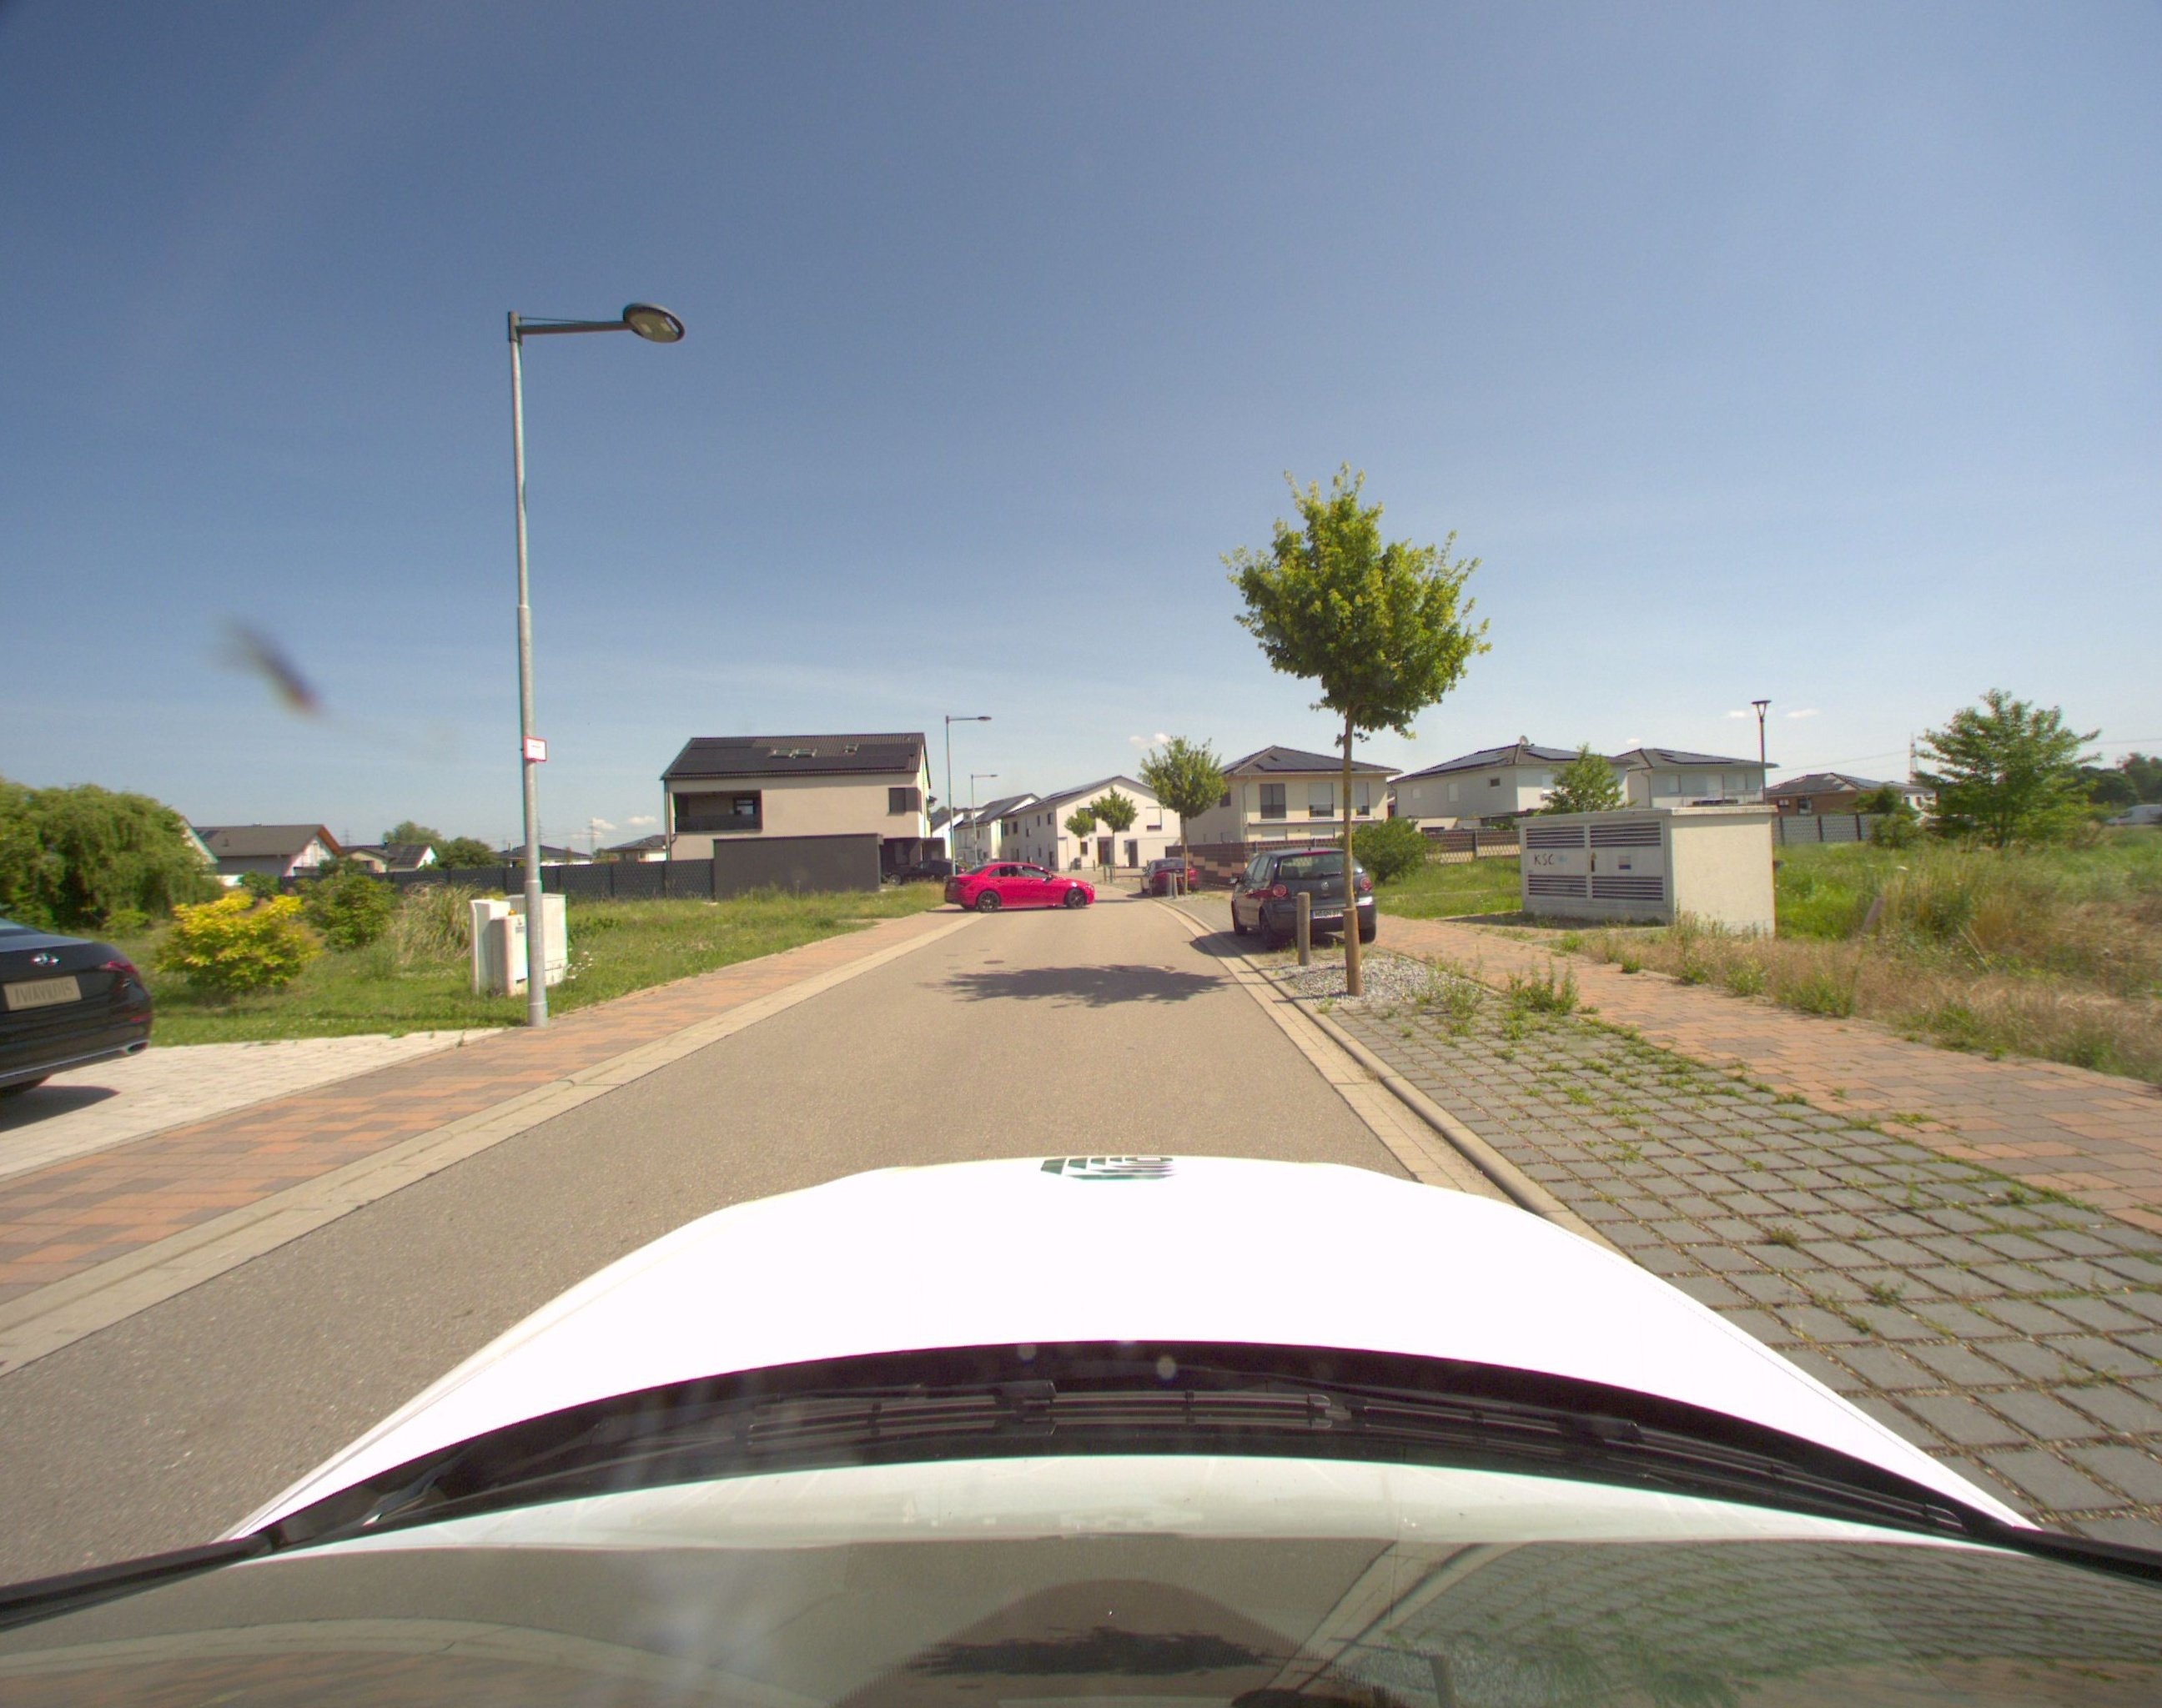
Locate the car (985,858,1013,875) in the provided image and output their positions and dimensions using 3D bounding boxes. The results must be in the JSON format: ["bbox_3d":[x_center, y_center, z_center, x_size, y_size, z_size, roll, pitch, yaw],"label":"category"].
[{"bbox_3d":[-7.577,1.109,74.680,1.731,1.423,3.976,-3,0,-17],"label":"car"}]

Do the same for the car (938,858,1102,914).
[{"bbox_3d":[-1.799,0.895,24.227,4.530,1.438,1.752,-1,0,-27],"label":"car"}]

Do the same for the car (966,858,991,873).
[{"bbox_3d":[-10.584,1.174,83.948,1.683,1.464,3.917,-3,0,-20],"label":"car"}]

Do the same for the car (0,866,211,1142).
[{"bbox_3d":[-7.969,0.844,4.296,4.394,1.452,1.742,-1,0,-11],"label":"car"}]

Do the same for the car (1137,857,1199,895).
[{"bbox_3d":[3.355,0.836,32.336,1.750,1.363,4.570,-1,0,-3],"label":"car"}]

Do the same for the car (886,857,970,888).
[{"bbox_3d":[-8.308,0.996,44.466,4.370,1.631,1.767,0,-1,-7],"label":"car"}]

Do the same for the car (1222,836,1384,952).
[{"bbox_3d":[3.431,0.565,13.258,1.593,1.475,3.676,-5,0,1],"label":"car"}]

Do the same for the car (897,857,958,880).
[{"bbox_3d":[-10.755,1.017,57.173,3.980,1.486,1.751,-2,0,-5],"label":"car"}]

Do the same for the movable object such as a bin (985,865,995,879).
[{"bbox_3d":[-6.123,1.233,54.715,0.532,0.936,0.526,-1,0,3],"label":"movable object such as a bin"}]
